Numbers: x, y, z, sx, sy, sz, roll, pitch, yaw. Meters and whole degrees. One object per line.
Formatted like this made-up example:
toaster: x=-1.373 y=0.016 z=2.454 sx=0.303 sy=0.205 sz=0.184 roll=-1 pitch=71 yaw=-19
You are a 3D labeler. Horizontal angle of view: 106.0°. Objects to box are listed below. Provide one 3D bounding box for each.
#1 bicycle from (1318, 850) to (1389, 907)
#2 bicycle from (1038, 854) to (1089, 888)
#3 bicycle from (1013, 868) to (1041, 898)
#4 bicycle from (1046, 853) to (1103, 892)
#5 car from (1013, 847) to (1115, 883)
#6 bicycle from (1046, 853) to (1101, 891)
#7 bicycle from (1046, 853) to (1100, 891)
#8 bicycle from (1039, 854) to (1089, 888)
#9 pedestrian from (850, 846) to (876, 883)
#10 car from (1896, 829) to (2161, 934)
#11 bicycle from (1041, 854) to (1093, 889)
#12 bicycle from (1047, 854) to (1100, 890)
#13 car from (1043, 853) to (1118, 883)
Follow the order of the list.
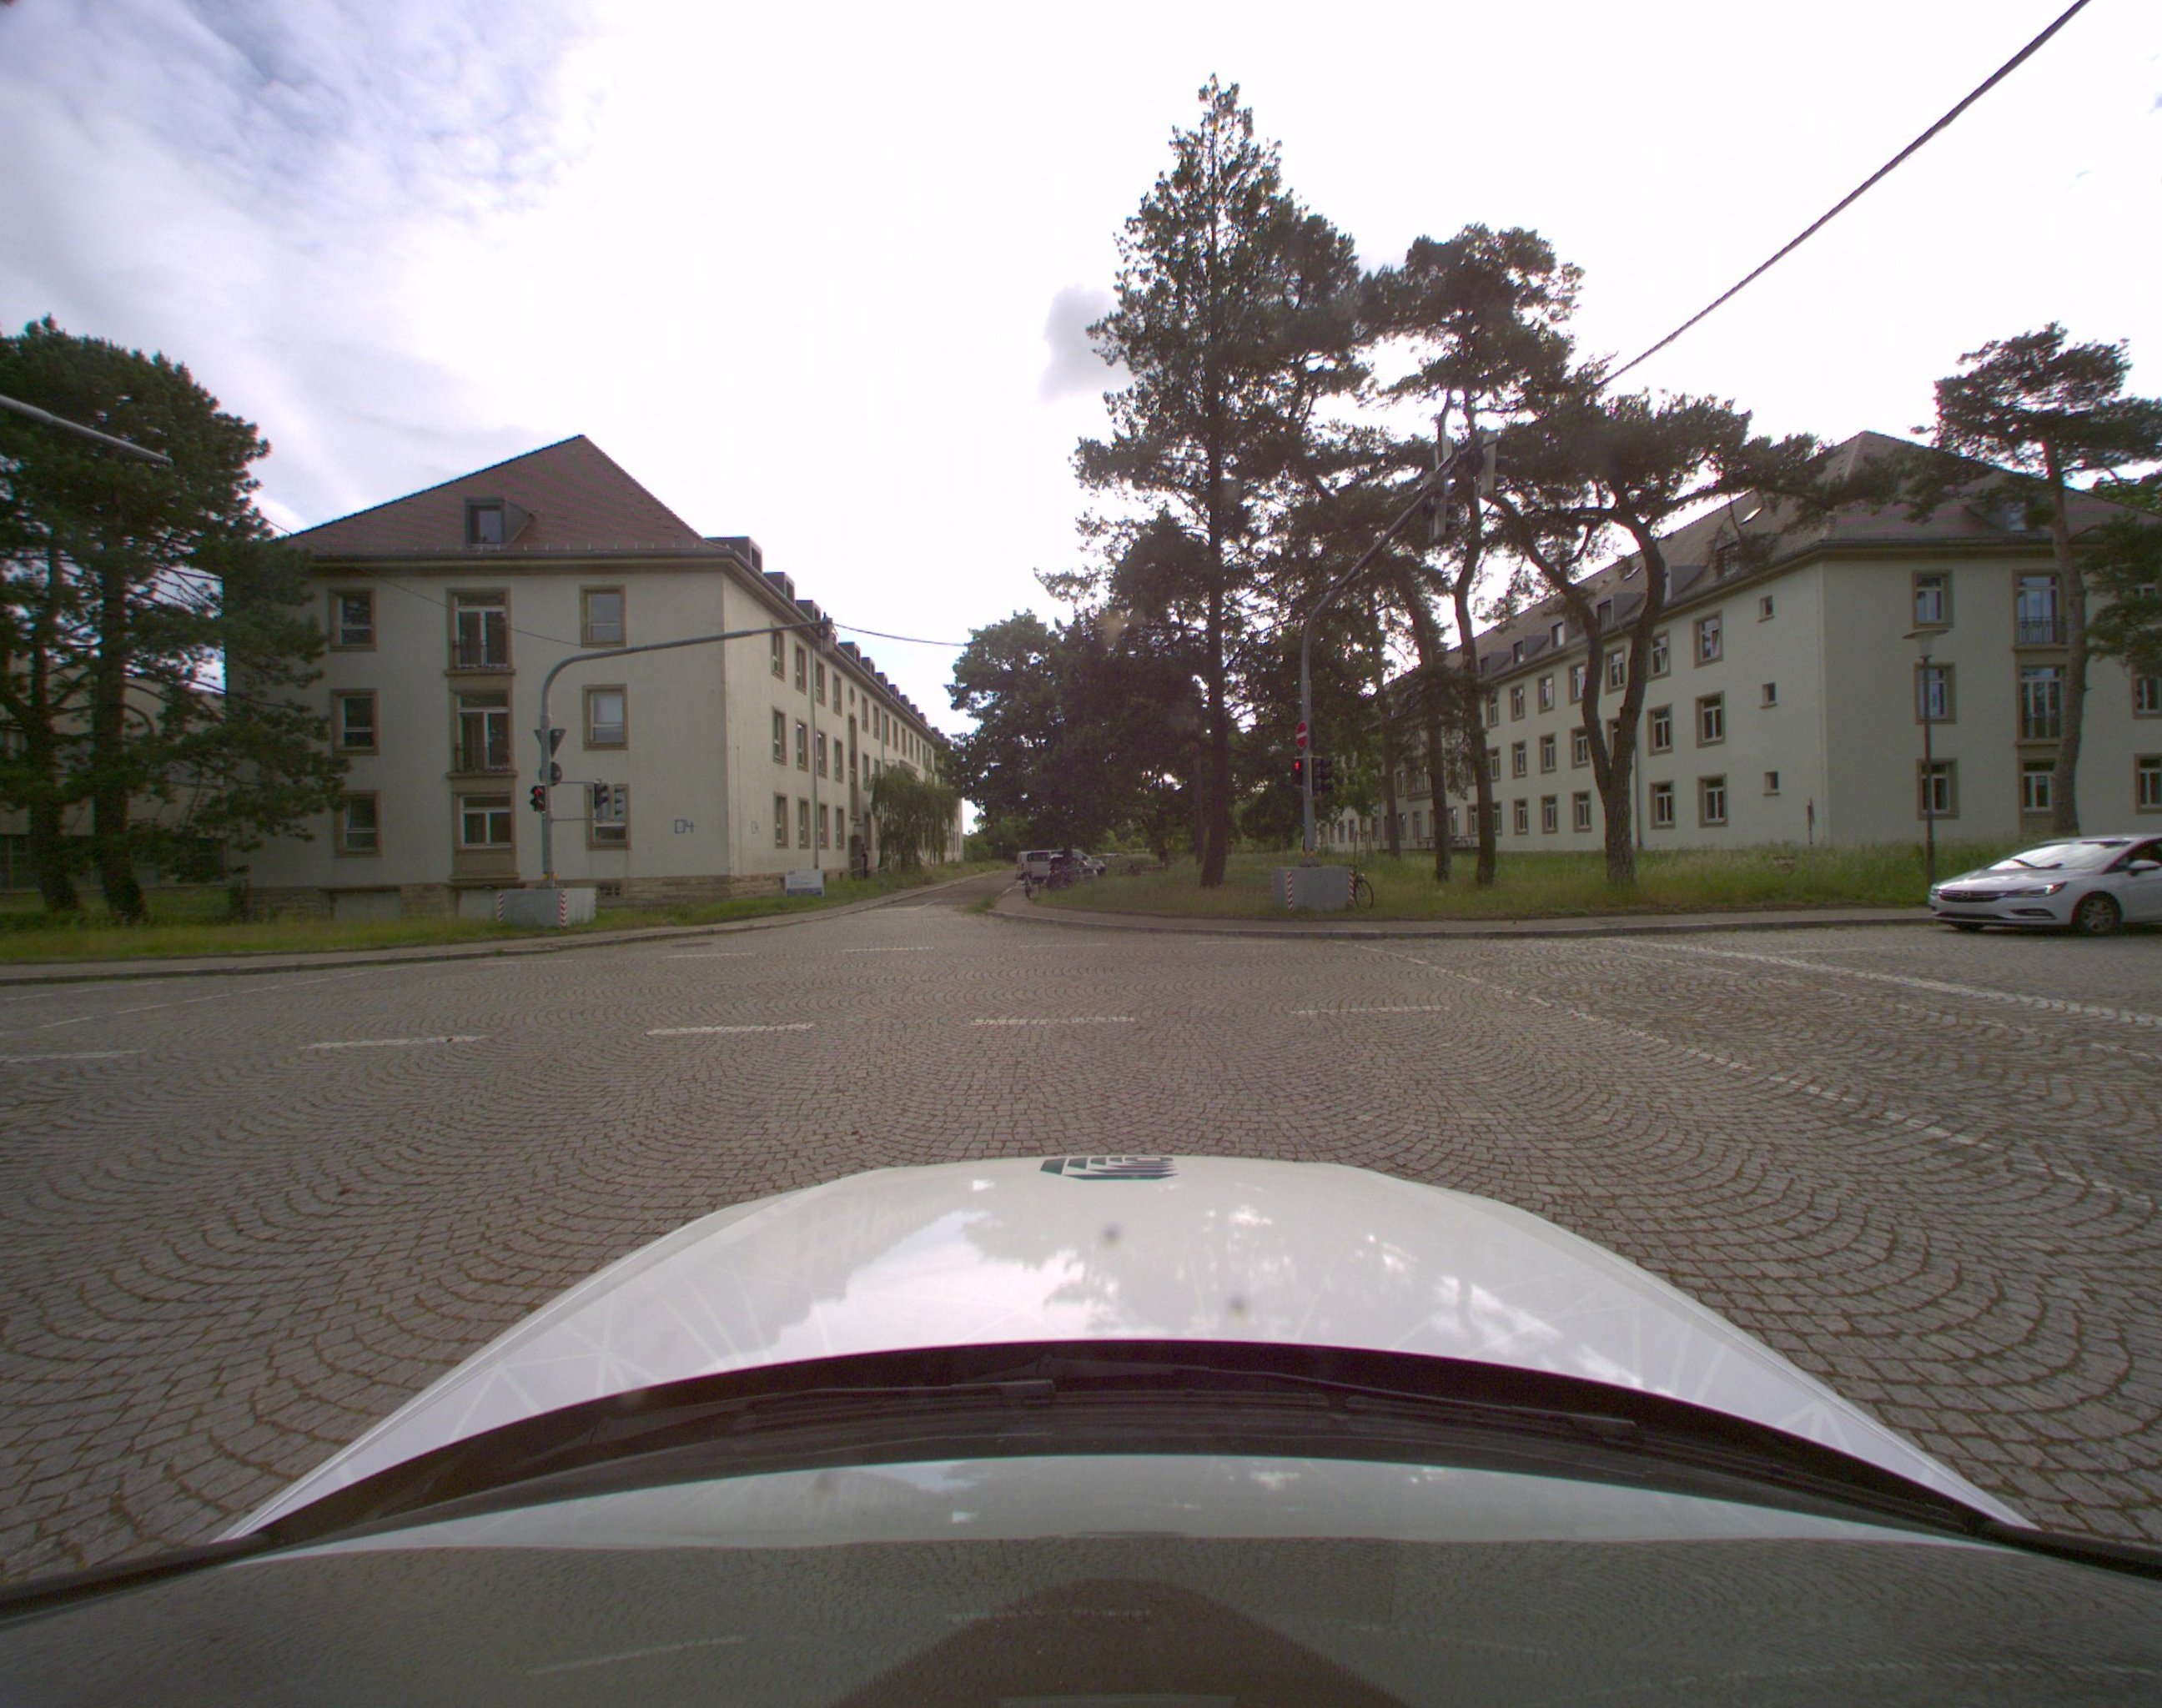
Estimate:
bicycle: x=6.063 y=0.527 z=18.242 sx=0.906 sy=1.177 sz=1.873 roll=-2 pitch=0 yaw=-2
bicycle: x=-0.714 y=0.707 z=33.953 sx=2.063 sy=1.378 sz=0.620 roll=-2 pitch=0 yaw=-1
bicycle: x=-1.881 y=1.000 z=28.495 sx=0.615 sy=0.963 sz=2.080 roll=-2 pitch=0 yaw=6
bicycle: x=-0.230 y=0.683 z=30.338 sx=2.063 sy=1.378 sz=0.620 roll=-2 pitch=0 yaw=-1
car: x=-1.027 y=0.636 z=48.205 sx=5.699 sy=1.910 sz=2.220 roll=-2 pitch=0 yaw=-14
bicycle: x=-0.286 y=0.687 z=31.007 sx=2.063 sy=1.378 sz=0.620 roll=-2 pitch=0 yaw=-1
bicycle: x=-0.301 y=0.692 z=31.632 sx=2.063 sy=1.378 sz=0.620 roll=-2 pitch=0 yaw=-1
bicycle: x=-0.713 y=0.714 z=34.701 sx=2.063 sy=1.378 sz=0.620 roll=-2 pitch=0 yaw=-1
pedestrian: x=-12.158 y=0.589 z=45.446 sx=1.082 sy=2.013 sz=1.023 roll=-2 pitch=0 yaw=4
car: x=15.543 y=0.372 z=12.495 sx=4.232 sy=1.416 sz=1.886 roll=-2 pitch=-1 yaw=-2
bicycle: x=-0.549 y=0.701 z=33.220 sx=2.063 sy=1.378 sz=0.620 roll=-2 pitch=0 yaw=-1
bicycle: x=-0.308 y=0.698 z=32.428 sx=2.063 sy=1.378 sz=0.620 roll=-2 pitch=0 yaw=-1
car: x=-0.070 y=0.756 z=44.861 sx=3.927 sy=1.544 sz=1.996 roll=-2 pitch=0 yaw=-6
